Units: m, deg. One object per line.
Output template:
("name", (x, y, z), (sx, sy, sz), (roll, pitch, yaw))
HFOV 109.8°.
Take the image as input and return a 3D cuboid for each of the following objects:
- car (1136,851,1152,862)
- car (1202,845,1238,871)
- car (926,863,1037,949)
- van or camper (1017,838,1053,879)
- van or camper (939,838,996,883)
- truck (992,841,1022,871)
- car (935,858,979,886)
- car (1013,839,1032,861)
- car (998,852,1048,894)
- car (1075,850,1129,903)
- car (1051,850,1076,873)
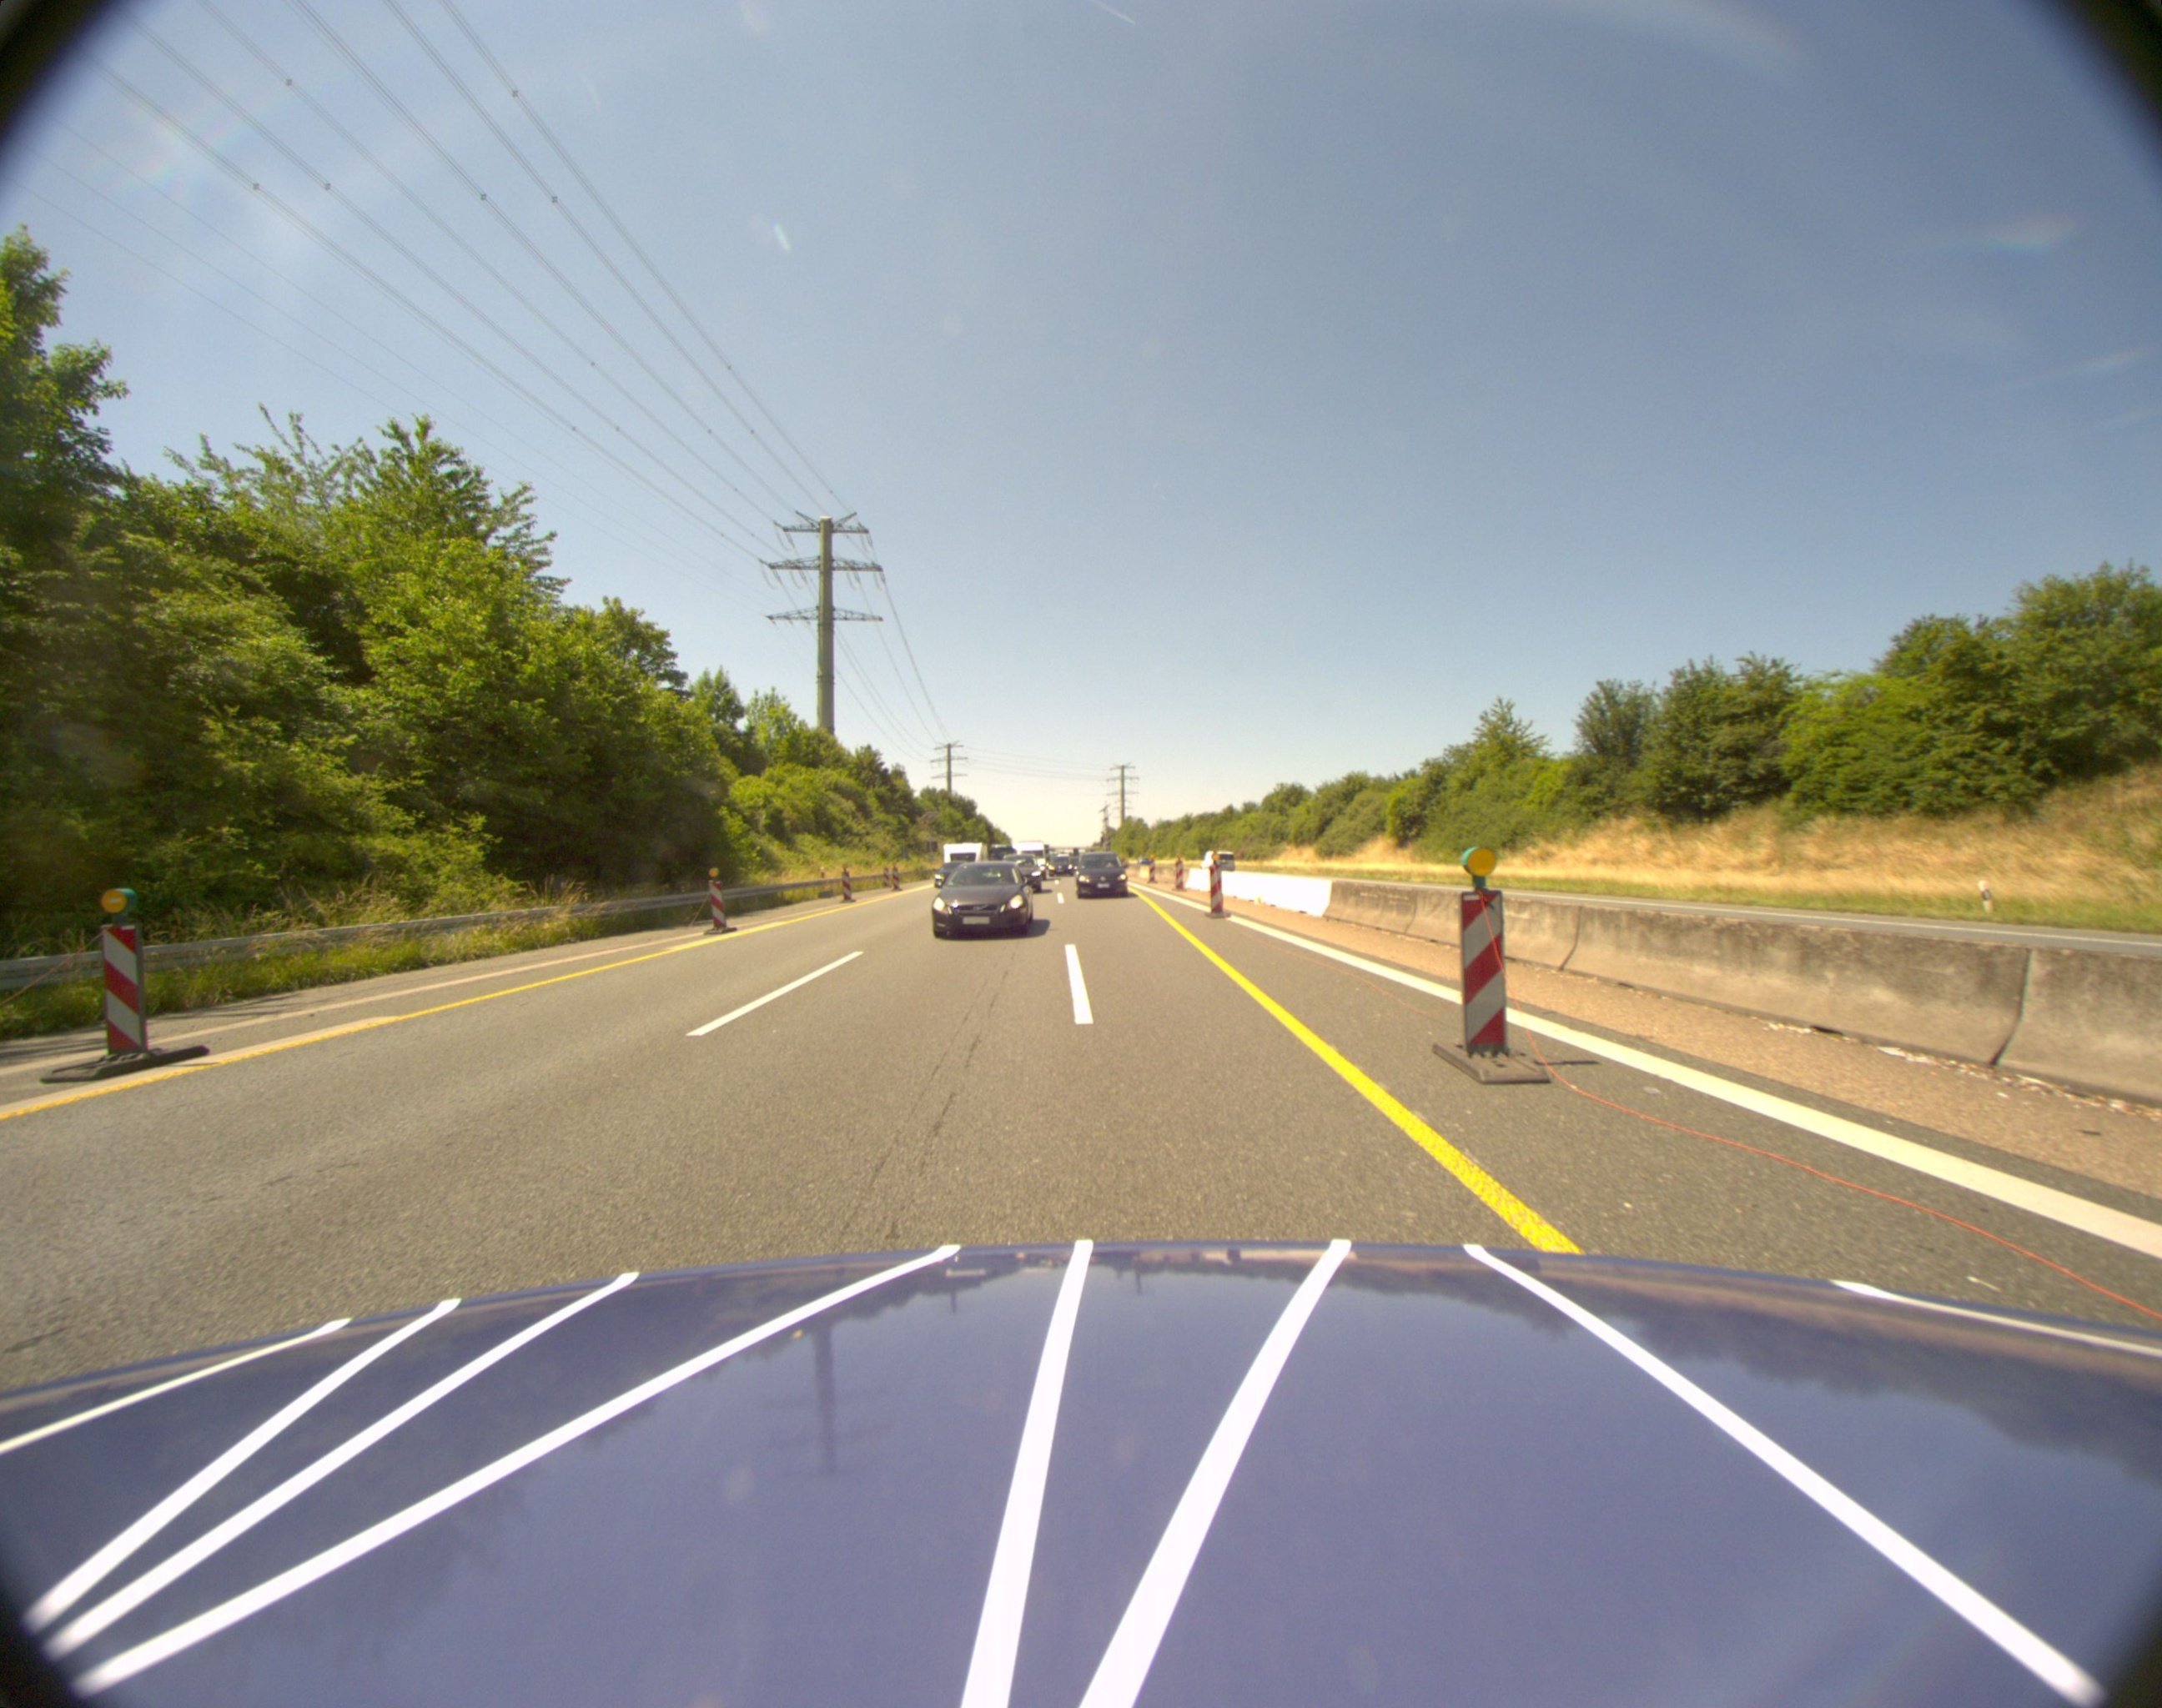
("car", (9.364, 0.340, 113.258), (1.895, 1.508, 3.479), (-2, 0, -4))
("car", (11.376, 0.300, 62.442), (1.968, 2.073, 4.937), (-1, 1, -1))
("car", (-1.927, 0.972, 15.851), (1.799, 1.433, 3.999), (-2, 0, -1))
("van or camper", (-2.948, 0.268, 50.201), (1.998, 2.604, 5.628), (0, 0, 0))
("van or camper", (-7.101, 0.380, 48.762), (2.432, 2.549, 8.416), (-2, 0, -1))
("truck", (-8.569, 0.203, 88.659), (2.431, 3.122, 7.647), (-4, 0, 1))
("car", (-6.850, 0.984, 42.443), (1.801, 1.399, 4.209), (-2, 0, -1))
("car", (-10.655, -0.822, 138.989), (2.397, 3.779, 10.271), (-2, 1, 0))
("car", (-2.440, 0.773, 32.898), (1.745, 1.658, 4.157), (-2, 0, 1))
("car", (0.722, 0.731, 27.112), (1.675, 1.619, 4.690), (-4, 0, 1))
("car", (-1.383, 0.551, 58.039), (1.745, 1.658, 4.156), (-2, 0, -2))
